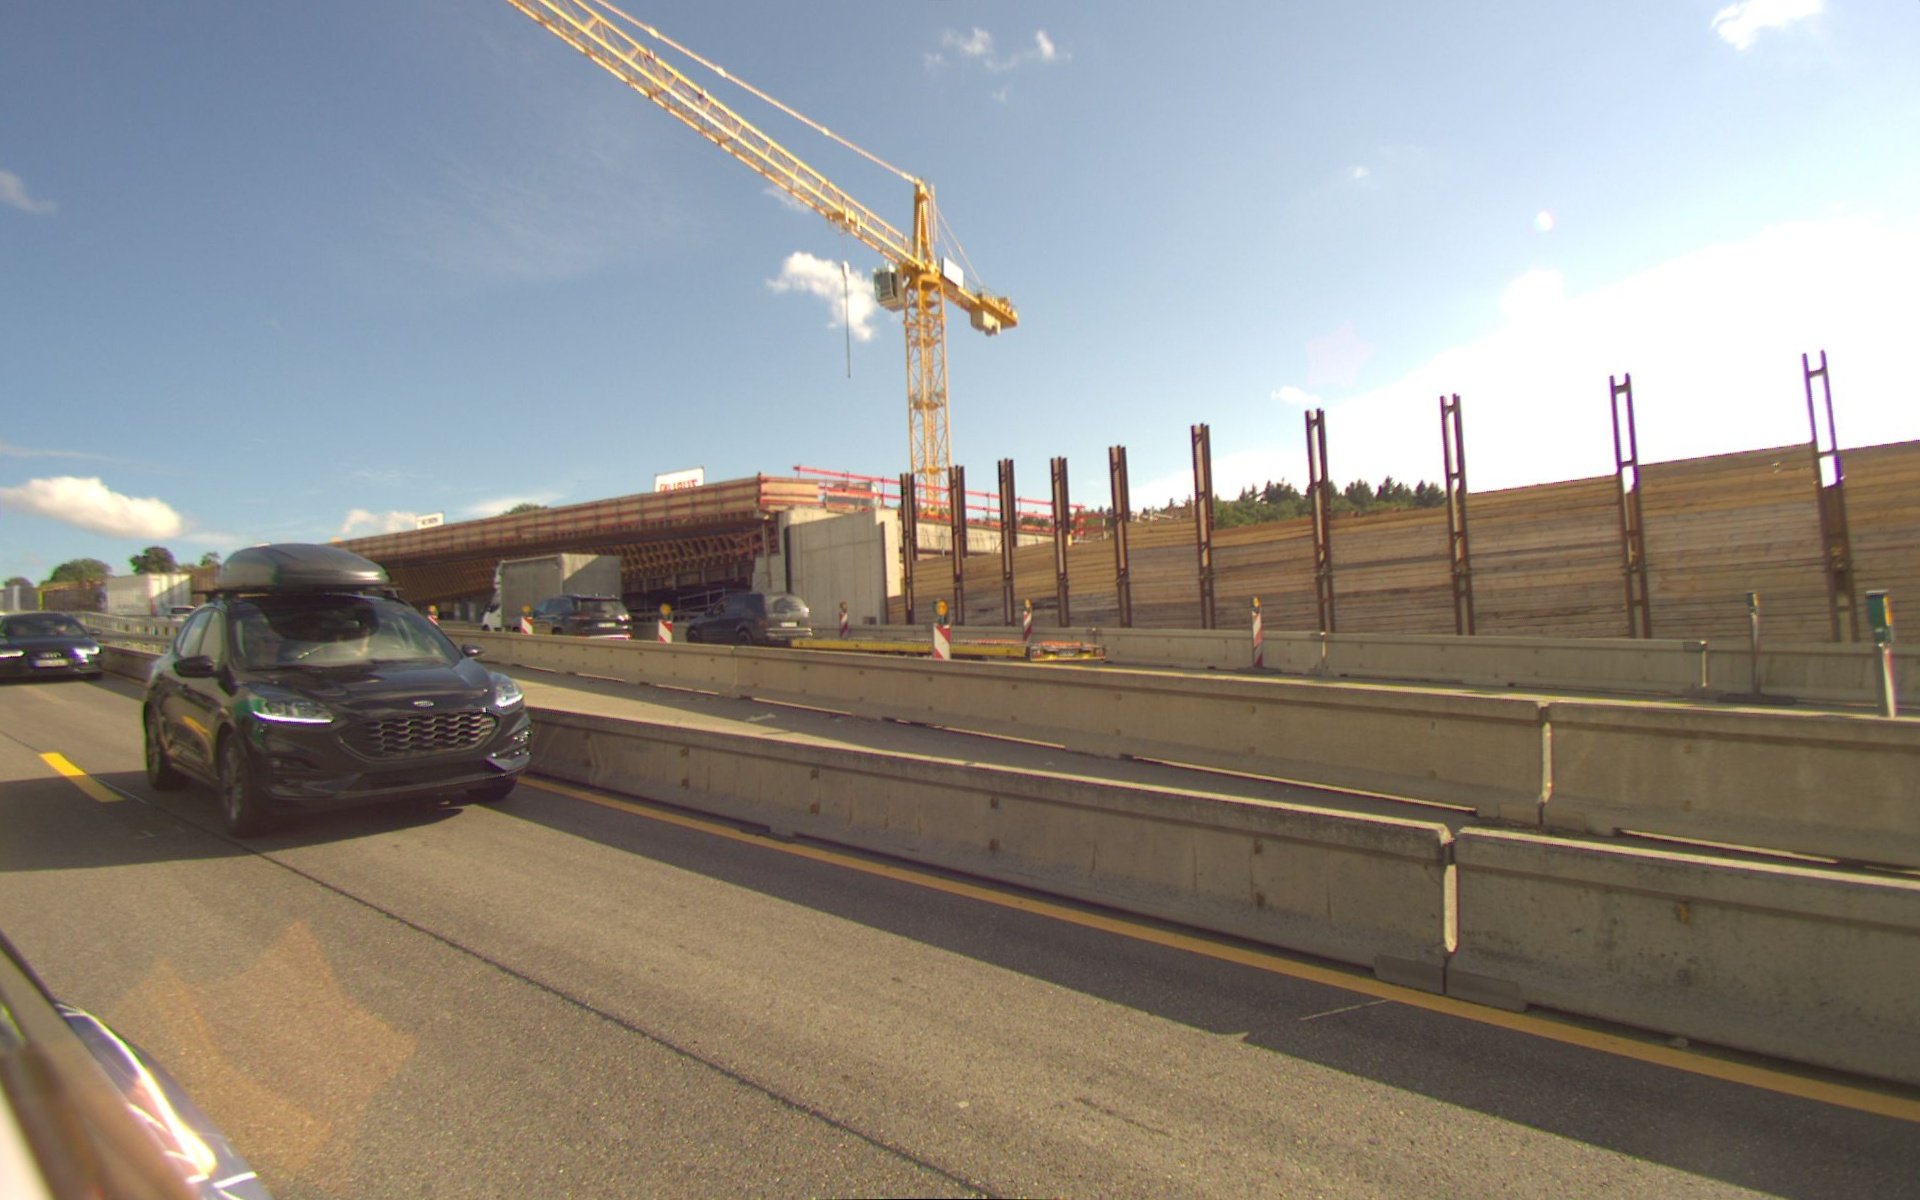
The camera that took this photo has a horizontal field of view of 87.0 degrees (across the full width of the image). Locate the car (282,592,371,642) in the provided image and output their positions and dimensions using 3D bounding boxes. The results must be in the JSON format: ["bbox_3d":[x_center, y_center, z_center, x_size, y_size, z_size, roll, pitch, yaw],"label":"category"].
[{"bbox_3d":[-33.183,0.836,52.952,5.862,2.420,2.235,0,1,40],"label":"car"}]

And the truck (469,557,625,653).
[{"bbox_3d":[-15.931,0.145,38.728,7.538,3.336,2.671,0,1,43],"label":"truck"}]

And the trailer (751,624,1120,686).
[{"bbox_3d":[-1.129,1.109,22.910,2.322,0.947,10.344,-1,0,-41],"label":"trailer"}]

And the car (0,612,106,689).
[{"bbox_3d":[-20.334,1.032,22.177,4.658,1.467,1.783,0,1,41],"label":"car"}]

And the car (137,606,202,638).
[{"bbox_3d":[-46.472,1.277,59.458,4.269,1.686,2.105,-2,2,40],"label":"car"}]

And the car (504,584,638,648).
[{"bbox_3d":[-11.098,0.455,28.695,1.831,1.648,4.752,-1,-1,-44],"label":"car"}]

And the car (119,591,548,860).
[{"bbox_3d":[-5.130,0.750,8.002,4.384,1.554,1.780,-1,0,43],"label":"car"}]

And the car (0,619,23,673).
[{"bbox_3d":[-31.002,1.421,31.801,4.559,1.576,1.783,0,1,41],"label":"car"}]

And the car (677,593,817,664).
[{"bbox_3d":[-6.062,0.721,28.426,1.969,1.817,4.452,-1,1,-40],"label":"car"}]

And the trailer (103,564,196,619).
[{"bbox_3d":[-61.770,-0.629,76.917,13.790,3.870,2.793,0,1,40],"label":"trailer"}]

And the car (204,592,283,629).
[{"bbox_3d":[-36.622,0.539,51.692,5.026,1.779,2.104,-2,-1,40],"label":"car"}]

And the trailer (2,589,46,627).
[{"bbox_3d":[-107.282,0.871,115.936,13.811,4.187,2.658,0,1,43],"label":"trailer"}]
